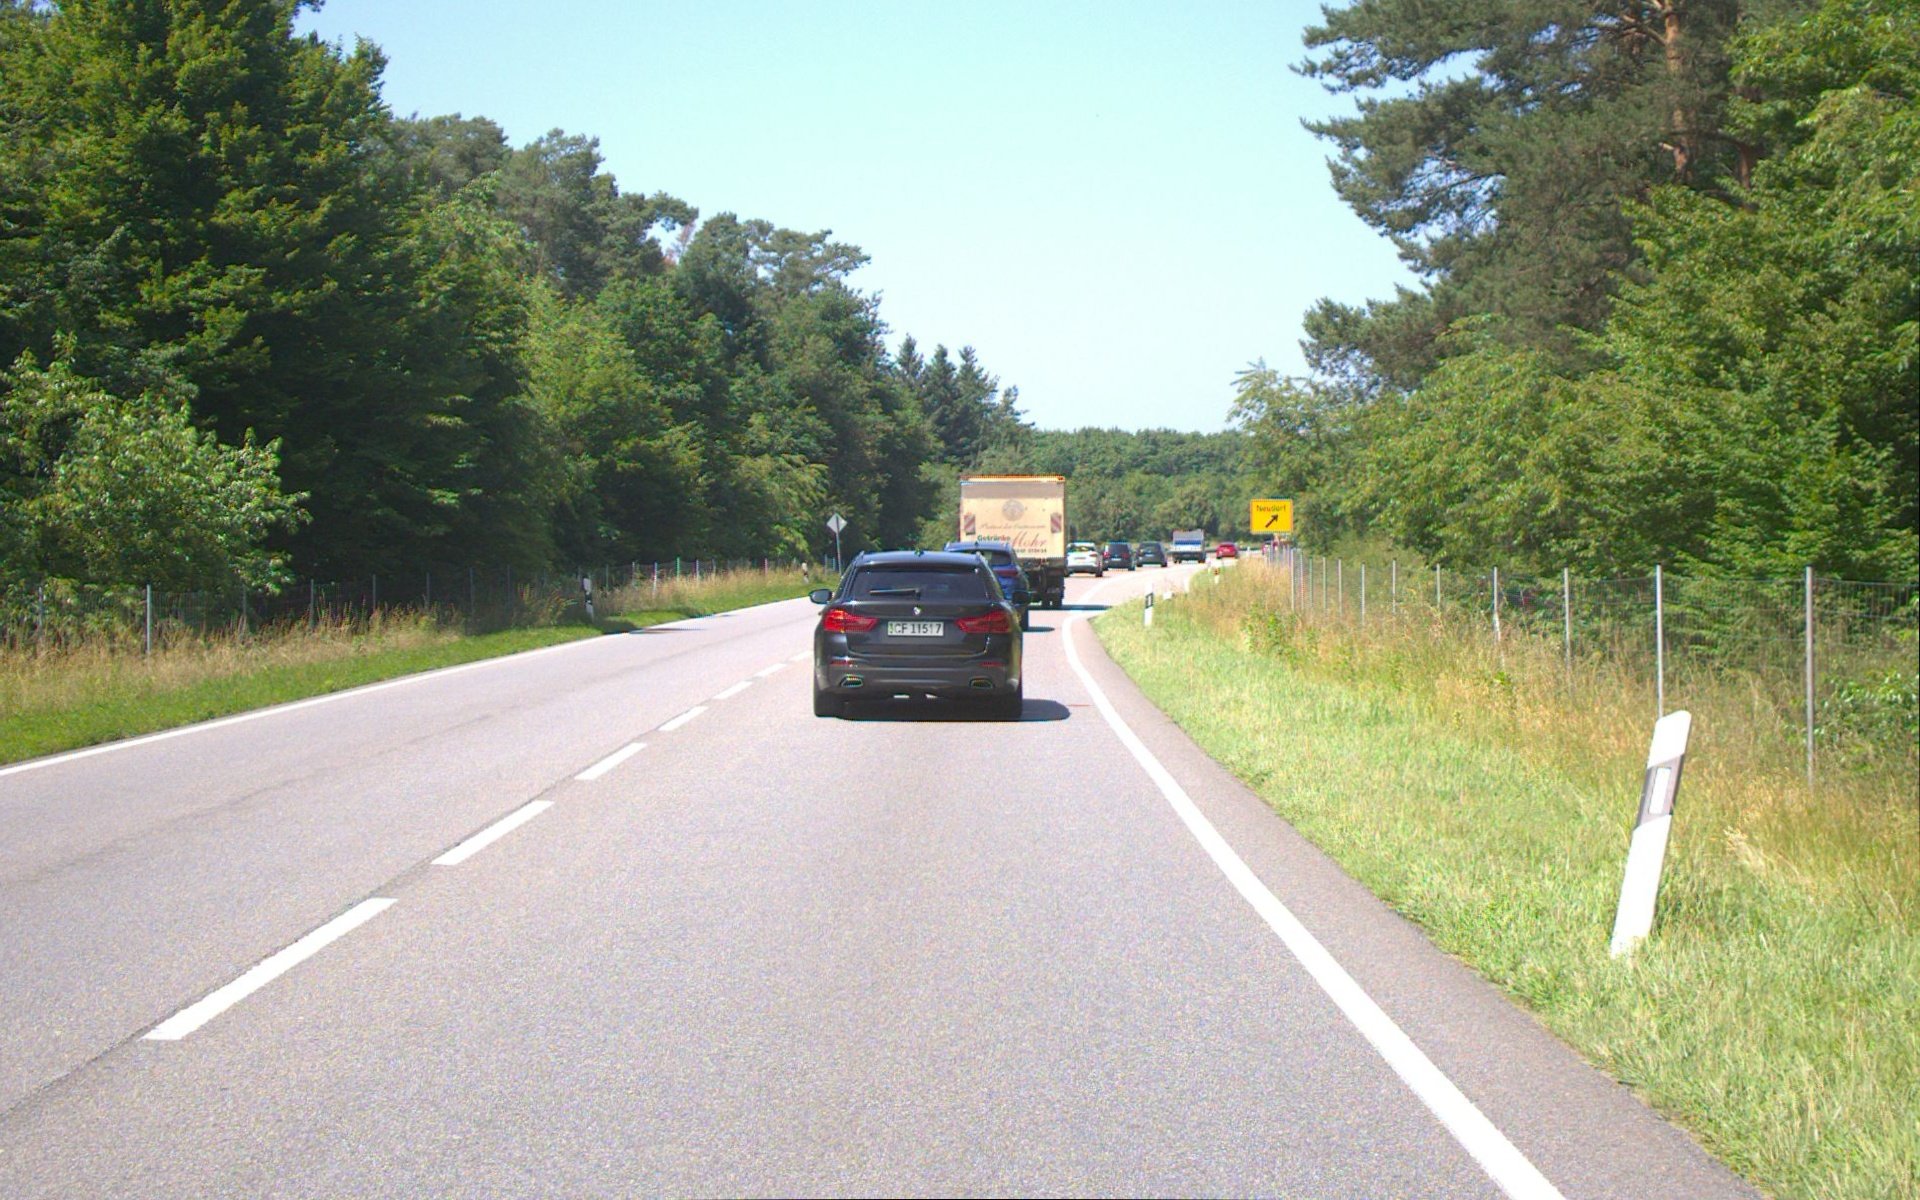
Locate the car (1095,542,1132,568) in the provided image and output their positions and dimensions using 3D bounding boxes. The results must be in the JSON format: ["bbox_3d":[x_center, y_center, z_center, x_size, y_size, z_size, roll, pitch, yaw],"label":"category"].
[{"bbox_3d":[8.804,-2.596,196.904,1.994,1.415,4.000,0,1,4],"label":"car"}]

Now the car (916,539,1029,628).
[{"bbox_3d":[0.200,-0.332,63.173,1.947,1.536,4.000,-2,1,-1],"label":"car"}]

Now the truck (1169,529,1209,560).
[{"bbox_3d":[16.527,-4.004,248.463,2.564,2.195,4.974,0,1,1],"label":"truck"}]

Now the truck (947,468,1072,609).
[{"bbox_3d":[1.276,-1.549,85.959,2.966,3.376,6.438,-1,1,1],"label":"truck"}]

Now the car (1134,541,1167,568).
[{"bbox_3d":[12.166,-2.923,219.753,1.994,1.631,4.000,-1,1,3],"label":"car"}]

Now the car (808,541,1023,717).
[{"bbox_3d":[-0.463,0.215,31.406,1.820,1.465,4.001,-1,1,-2],"label":"car"}]

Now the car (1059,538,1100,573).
[{"bbox_3d":[5.728,-2.137,164.974,1.863,1.600,4.000,1,1,1],"label":"car"}]
